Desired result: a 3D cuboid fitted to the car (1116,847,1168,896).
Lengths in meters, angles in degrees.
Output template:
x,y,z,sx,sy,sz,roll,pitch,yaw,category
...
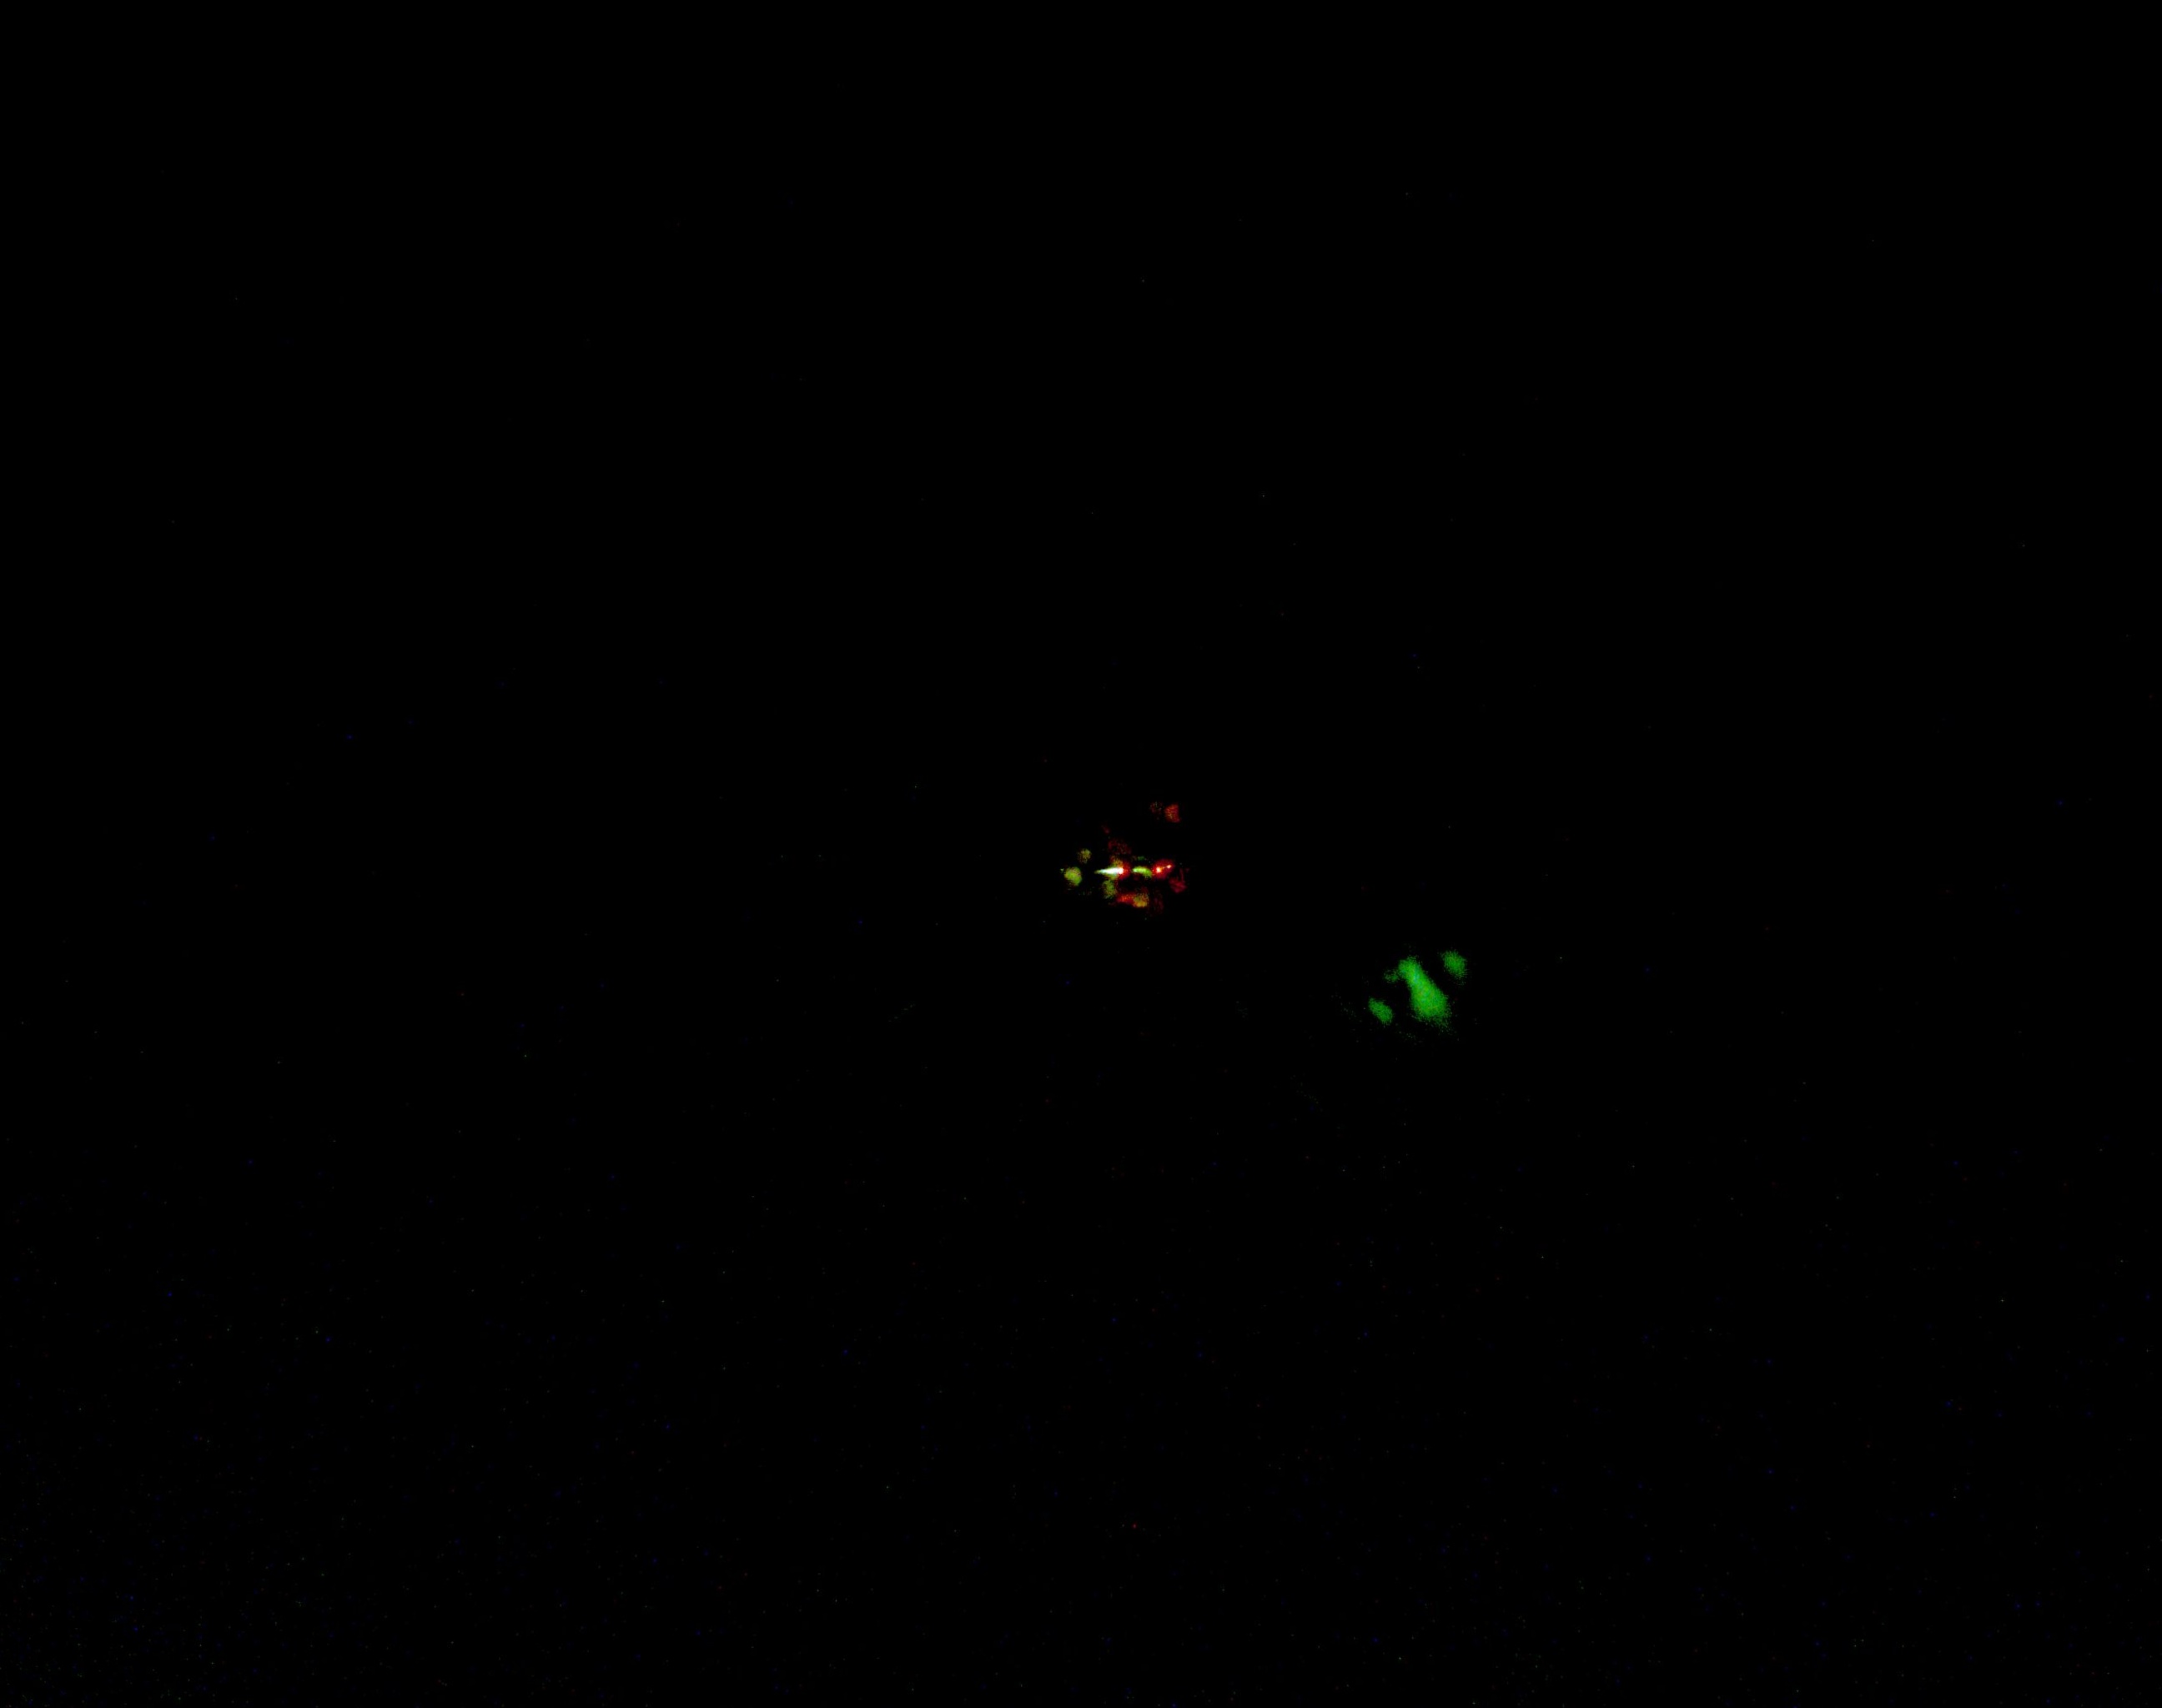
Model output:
x,y,z,sx,sy,sz,roll,pitch,yaw,category
2.614,0.711,35.318,1.985,1.806,3.921,-4,1,3,car
